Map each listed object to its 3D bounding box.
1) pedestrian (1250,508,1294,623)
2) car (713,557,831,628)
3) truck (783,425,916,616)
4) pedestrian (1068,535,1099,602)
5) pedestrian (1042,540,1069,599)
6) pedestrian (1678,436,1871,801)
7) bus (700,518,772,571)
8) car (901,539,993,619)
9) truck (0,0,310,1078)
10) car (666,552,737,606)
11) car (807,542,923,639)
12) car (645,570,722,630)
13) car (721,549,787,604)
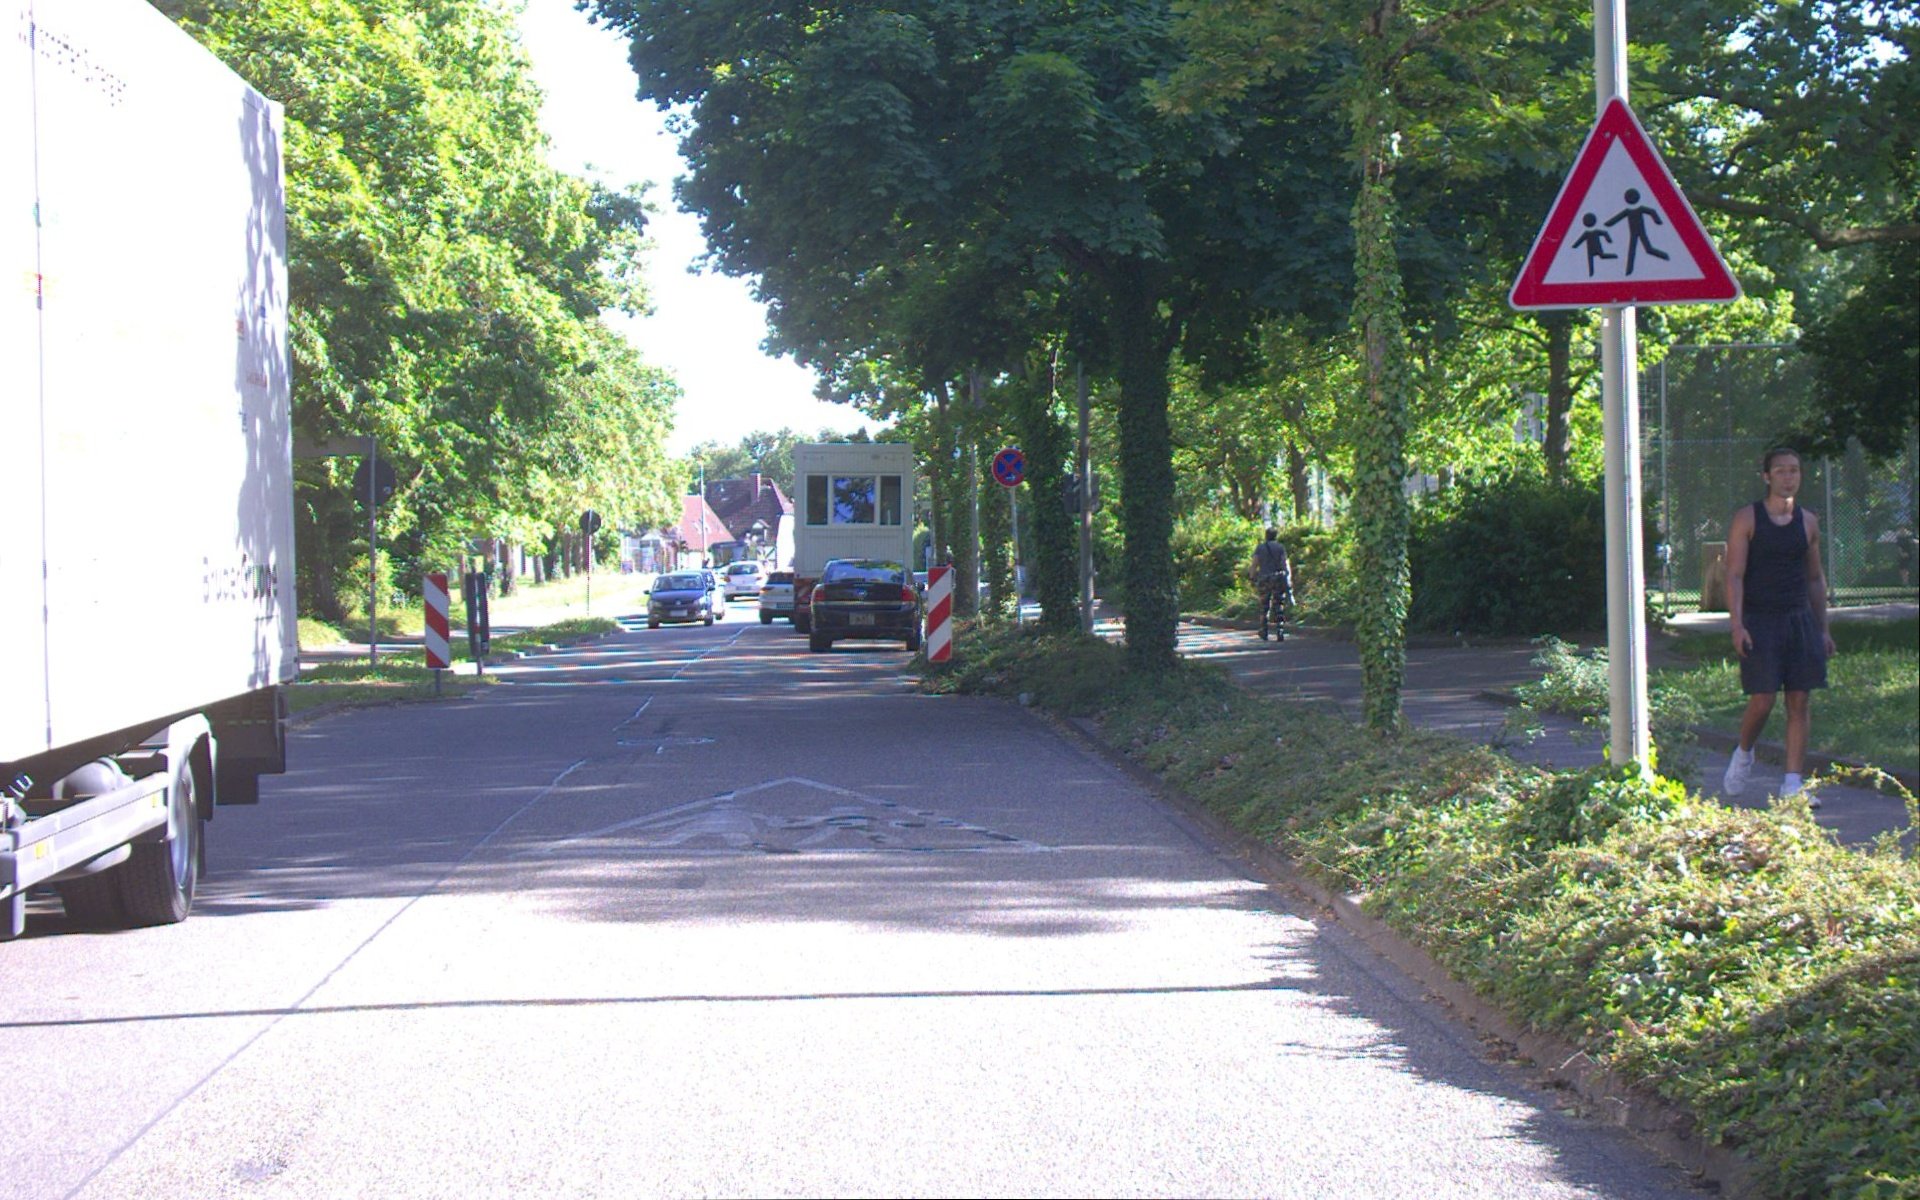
[{"bbox_3d":[4.404,-0.488,48.455,0.571,1.602,0.671,-1,1,7],"label":"pedestrian"},{"bbox_3d":[-4.704,-0.204,86.491,1.994,1.678,3.998,-1,1,11],"label":"car"},{"bbox_3d":[-2.573,-1.733,76.965,2.772,3.982,10.349,0,1,-3],"label":"truck"},{"bbox_3d":[3.430,-0.873,95.282,0.698,1.806,0.700,-3,1,-5],"label":"pedestrian"},{"bbox_3d":[2.647,-0.861,95.316,0.598,1.605,0.600,-3,1,-5],"label":"pedestrian"},{"bbox_3d":[4.182,0.088,17.687,0.791,1.826,0.671,-1,1,-2],"label":"pedestrian"},{"bbox_3d":[-15.031,-3.729,231.695,4.065,3.337,9.801,-2,1,0],"label":"bus"},{"bbox_3d":[-0.246,-0.421,66.302,1.640,1.415,4.000,-3,1,0],"label":"car"},{"bbox_3d":[-4.366,-0.419,12.685,2.734,3.629,8.102,-1,1,-3],"label":"truck"},{"bbox_3d":[-7.458,-0.628,99.453,1.755,1.449,4.243,-3,1,-1],"label":"car"},{"bbox_3d":[-1.483,-0.151,54.899,1.748,1.475,4.030,0,0,0],"label":"car"},{"bbox_3d":[-7.285,-0.013,90.769,1.601,1.421,3.652,-3,1,1],"label":"car"},{"bbox_3d":[-7.917,-0.909,132.267,1.994,2.007,4.000,-2,1,4],"label":"car"}]
